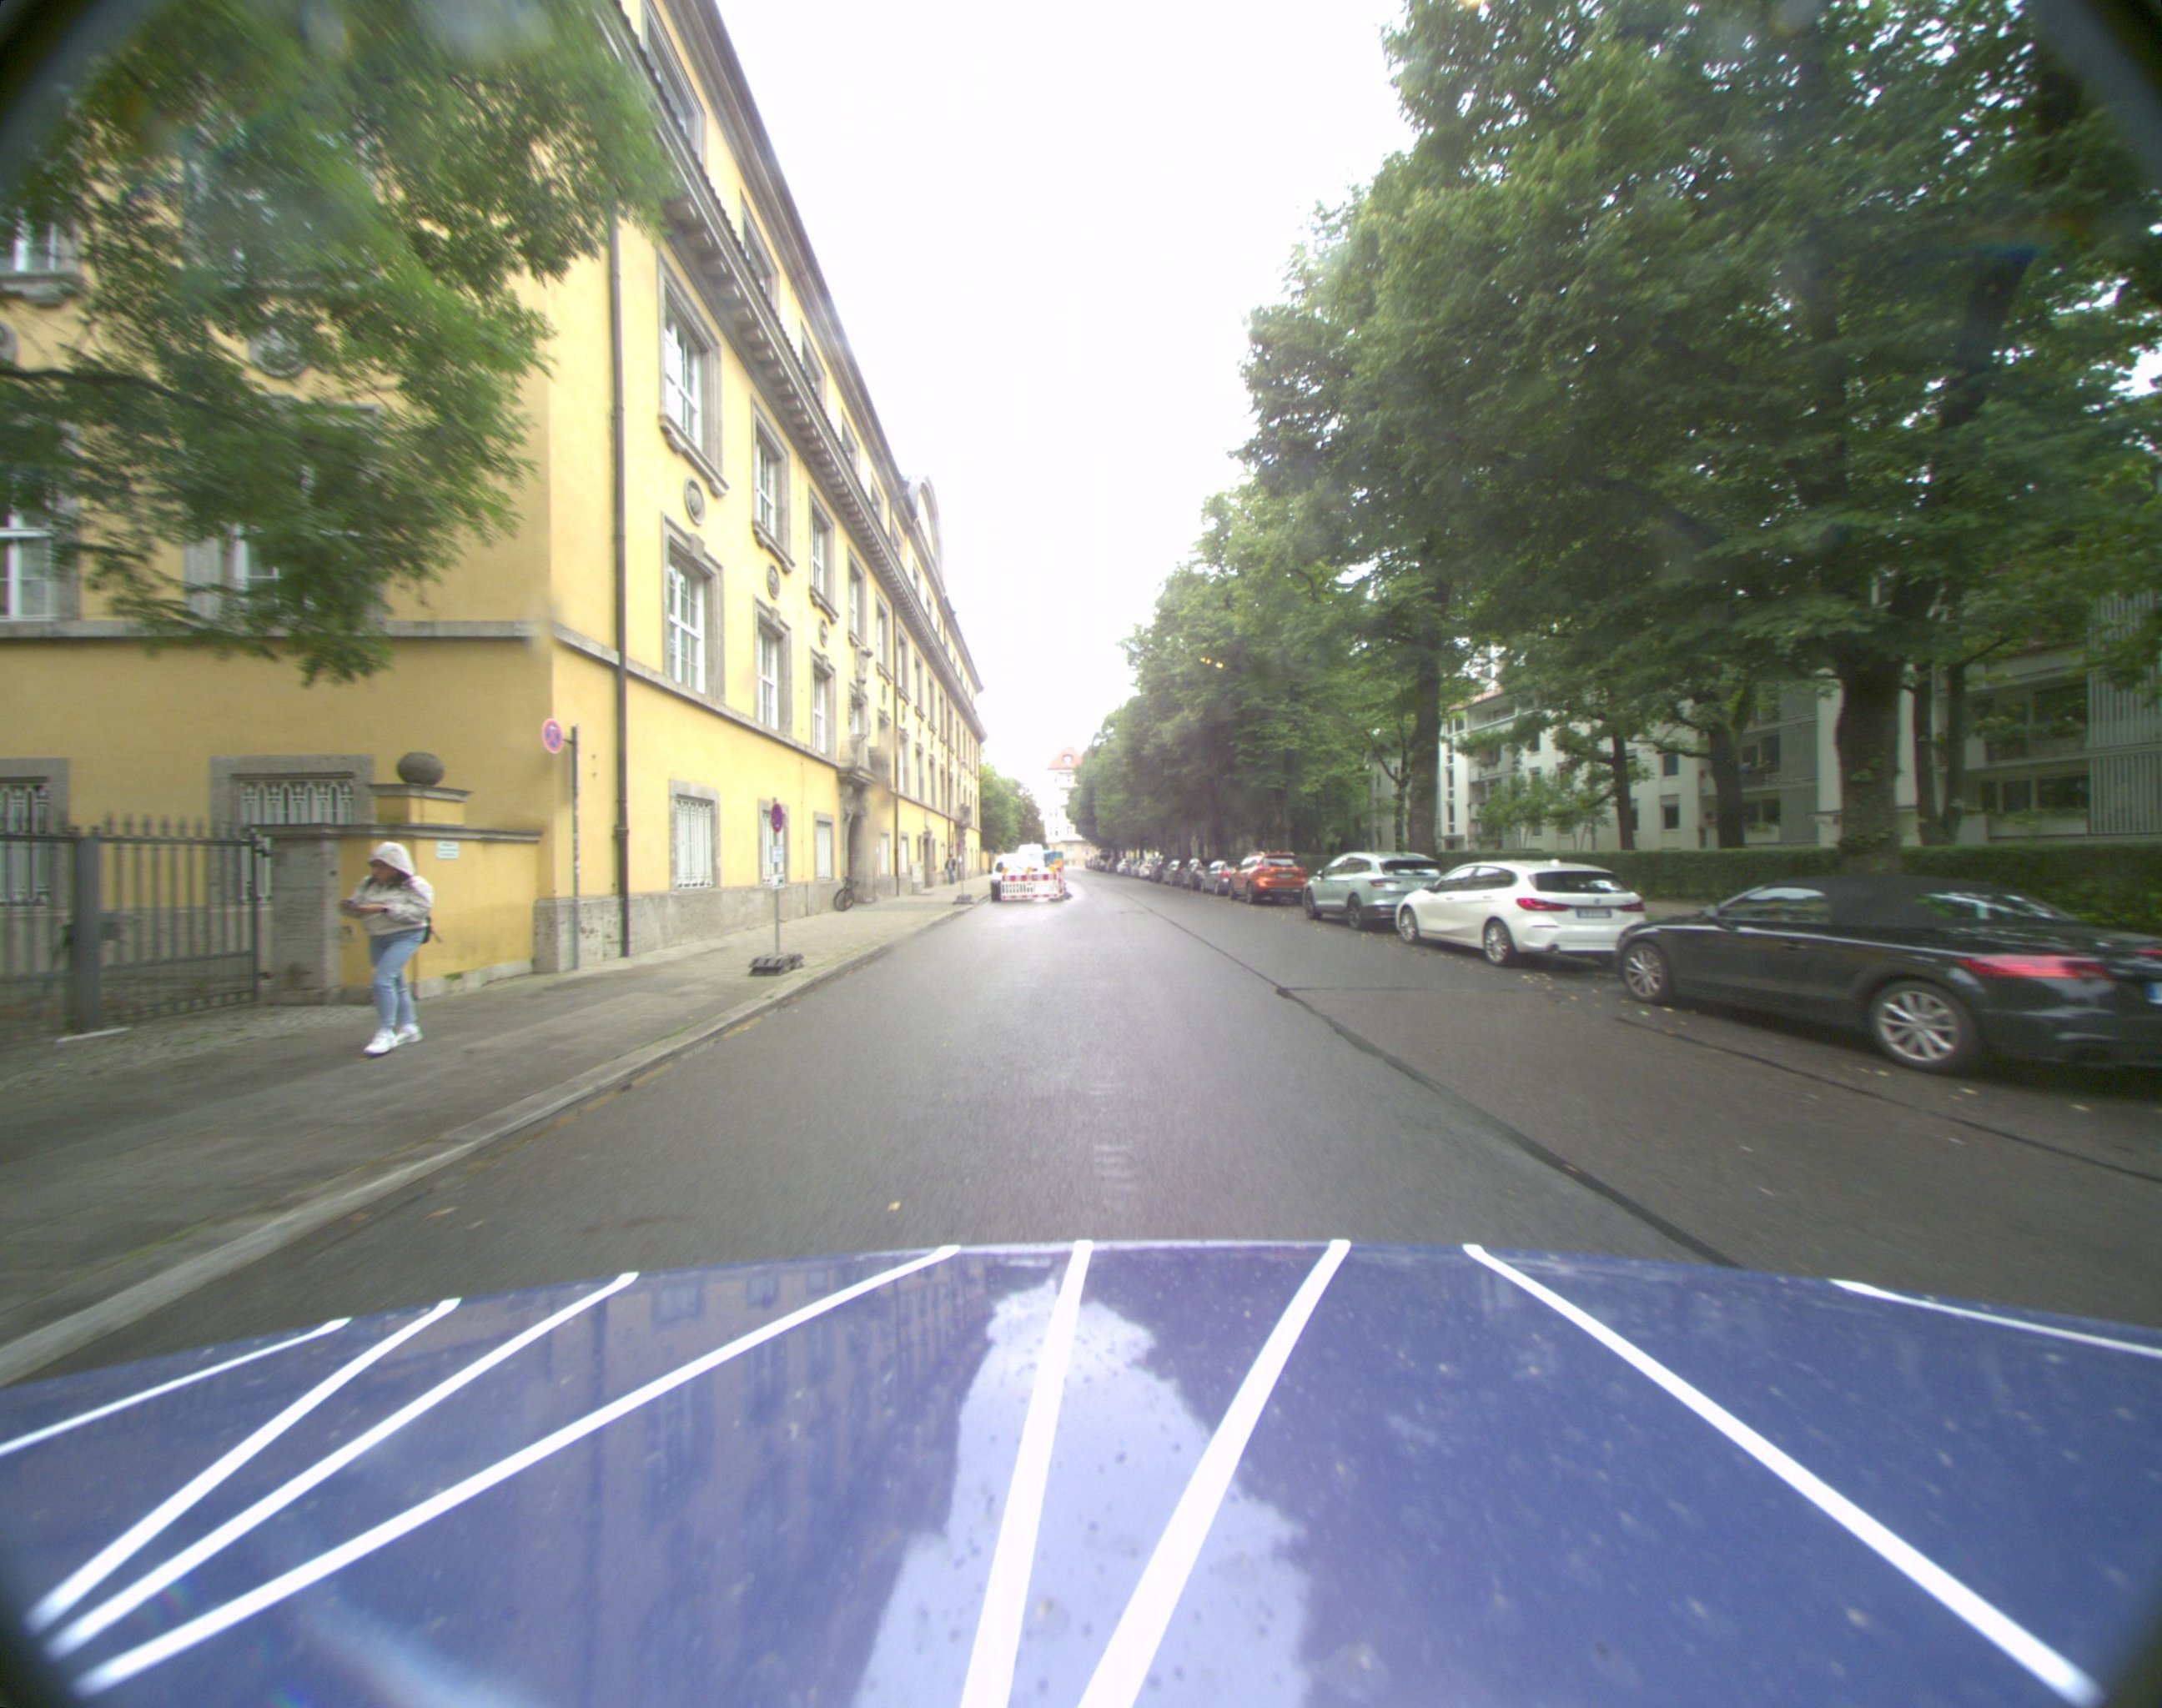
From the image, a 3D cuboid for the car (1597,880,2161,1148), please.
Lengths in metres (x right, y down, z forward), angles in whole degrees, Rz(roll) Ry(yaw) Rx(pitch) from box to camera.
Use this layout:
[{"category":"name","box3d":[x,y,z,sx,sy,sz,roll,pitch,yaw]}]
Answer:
[{"category":"car","box3d":[6.456,0.970,6.298,1.581,1.335,4.043,-1,0,0]}]

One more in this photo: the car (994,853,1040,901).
[{"category":"car","box3d":[-2.569,0.873,31.261,1.744,1.740,4.354,-1,1,-3]}]

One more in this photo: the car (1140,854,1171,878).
[{"category":"car","box3d":[5.341,0.854,54.924,1.770,1.612,4.522,2,0,-1]}]

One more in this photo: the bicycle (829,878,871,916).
[{"category":"bicycle","box3d":[-6.847,1.263,22.628,0.682,1.000,2.056,-1,1,-2]}]

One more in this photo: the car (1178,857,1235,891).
[{"category":"car","box3d":[6.033,0.927,37.041,1.791,1.565,4.485,1,0,-3]}]

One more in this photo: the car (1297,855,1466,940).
[{"category":"car","box3d":[6.410,0.830,16.848,1.820,1.592,4.512,-1,0,-2]}]

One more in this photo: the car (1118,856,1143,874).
[{"category":"car","box3d":[4.593,0.968,70.952,1.789,1.588,4.582,-1,0,-4]}]

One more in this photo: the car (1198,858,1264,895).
[{"category":"car","box3d":[6.241,0.899,32.034,1.732,1.414,4.250,-1,0,-3]}]

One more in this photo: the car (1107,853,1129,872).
[{"category":"car","box3d":[3.921,0.871,80.778,1.789,1.866,4.546,1,0,-4]}]

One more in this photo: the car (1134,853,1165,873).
[{"category":"car","box3d":[5.400,0.708,60.693,1.814,1.461,4.995,-1,0,-2]}]

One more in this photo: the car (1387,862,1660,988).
[{"category":"car","box3d":[6.344,0.900,11.524,1.581,1.488,4.198,-1,0,-2]}]

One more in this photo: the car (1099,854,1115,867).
[{"category":"car","box3d":[3.024,0.744,89.696,1.794,1.429,4.551,0,-1,0]}]

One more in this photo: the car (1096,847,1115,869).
[{"category":"car","box3d":[3.231,0.538,101.827,1.950,2.838,6.232,-1,1,-4]}]

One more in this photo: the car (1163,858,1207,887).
[{"category":"car","box3d":[5.776,1.008,42.766,1.723,1.442,4.694,-1,0,-1]}]

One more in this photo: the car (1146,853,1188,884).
[{"category":"car","box3d":[5.385,0.872,48.119,1.999,1.786,4.919,1,0,-1]}]

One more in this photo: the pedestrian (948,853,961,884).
[{"category":"pedestrian","box3d":[-7.382,0.844,44.346,0.702,1.794,0.582,1,1,-3]}]

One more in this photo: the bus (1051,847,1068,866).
[{"category":"bus","box3d":[-4.287,0.360,148.621,2.867,3.220,18.417,-1,1,-3]}]

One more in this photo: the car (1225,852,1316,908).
[{"category":"car","box3d":[6.357,0.816,26.048,1.877,1.718,4.640,-1,0,-1]}]

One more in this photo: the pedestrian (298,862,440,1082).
[{"category":"pedestrian","box3d":[-5.555,0.885,5.958,0.561,1.628,0.571,1,1,-2]}]

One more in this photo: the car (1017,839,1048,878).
[{"category":"car","box3d":[-3.598,0.304,56.113,2.060,2.657,7.610,-1,0,-4]}]
